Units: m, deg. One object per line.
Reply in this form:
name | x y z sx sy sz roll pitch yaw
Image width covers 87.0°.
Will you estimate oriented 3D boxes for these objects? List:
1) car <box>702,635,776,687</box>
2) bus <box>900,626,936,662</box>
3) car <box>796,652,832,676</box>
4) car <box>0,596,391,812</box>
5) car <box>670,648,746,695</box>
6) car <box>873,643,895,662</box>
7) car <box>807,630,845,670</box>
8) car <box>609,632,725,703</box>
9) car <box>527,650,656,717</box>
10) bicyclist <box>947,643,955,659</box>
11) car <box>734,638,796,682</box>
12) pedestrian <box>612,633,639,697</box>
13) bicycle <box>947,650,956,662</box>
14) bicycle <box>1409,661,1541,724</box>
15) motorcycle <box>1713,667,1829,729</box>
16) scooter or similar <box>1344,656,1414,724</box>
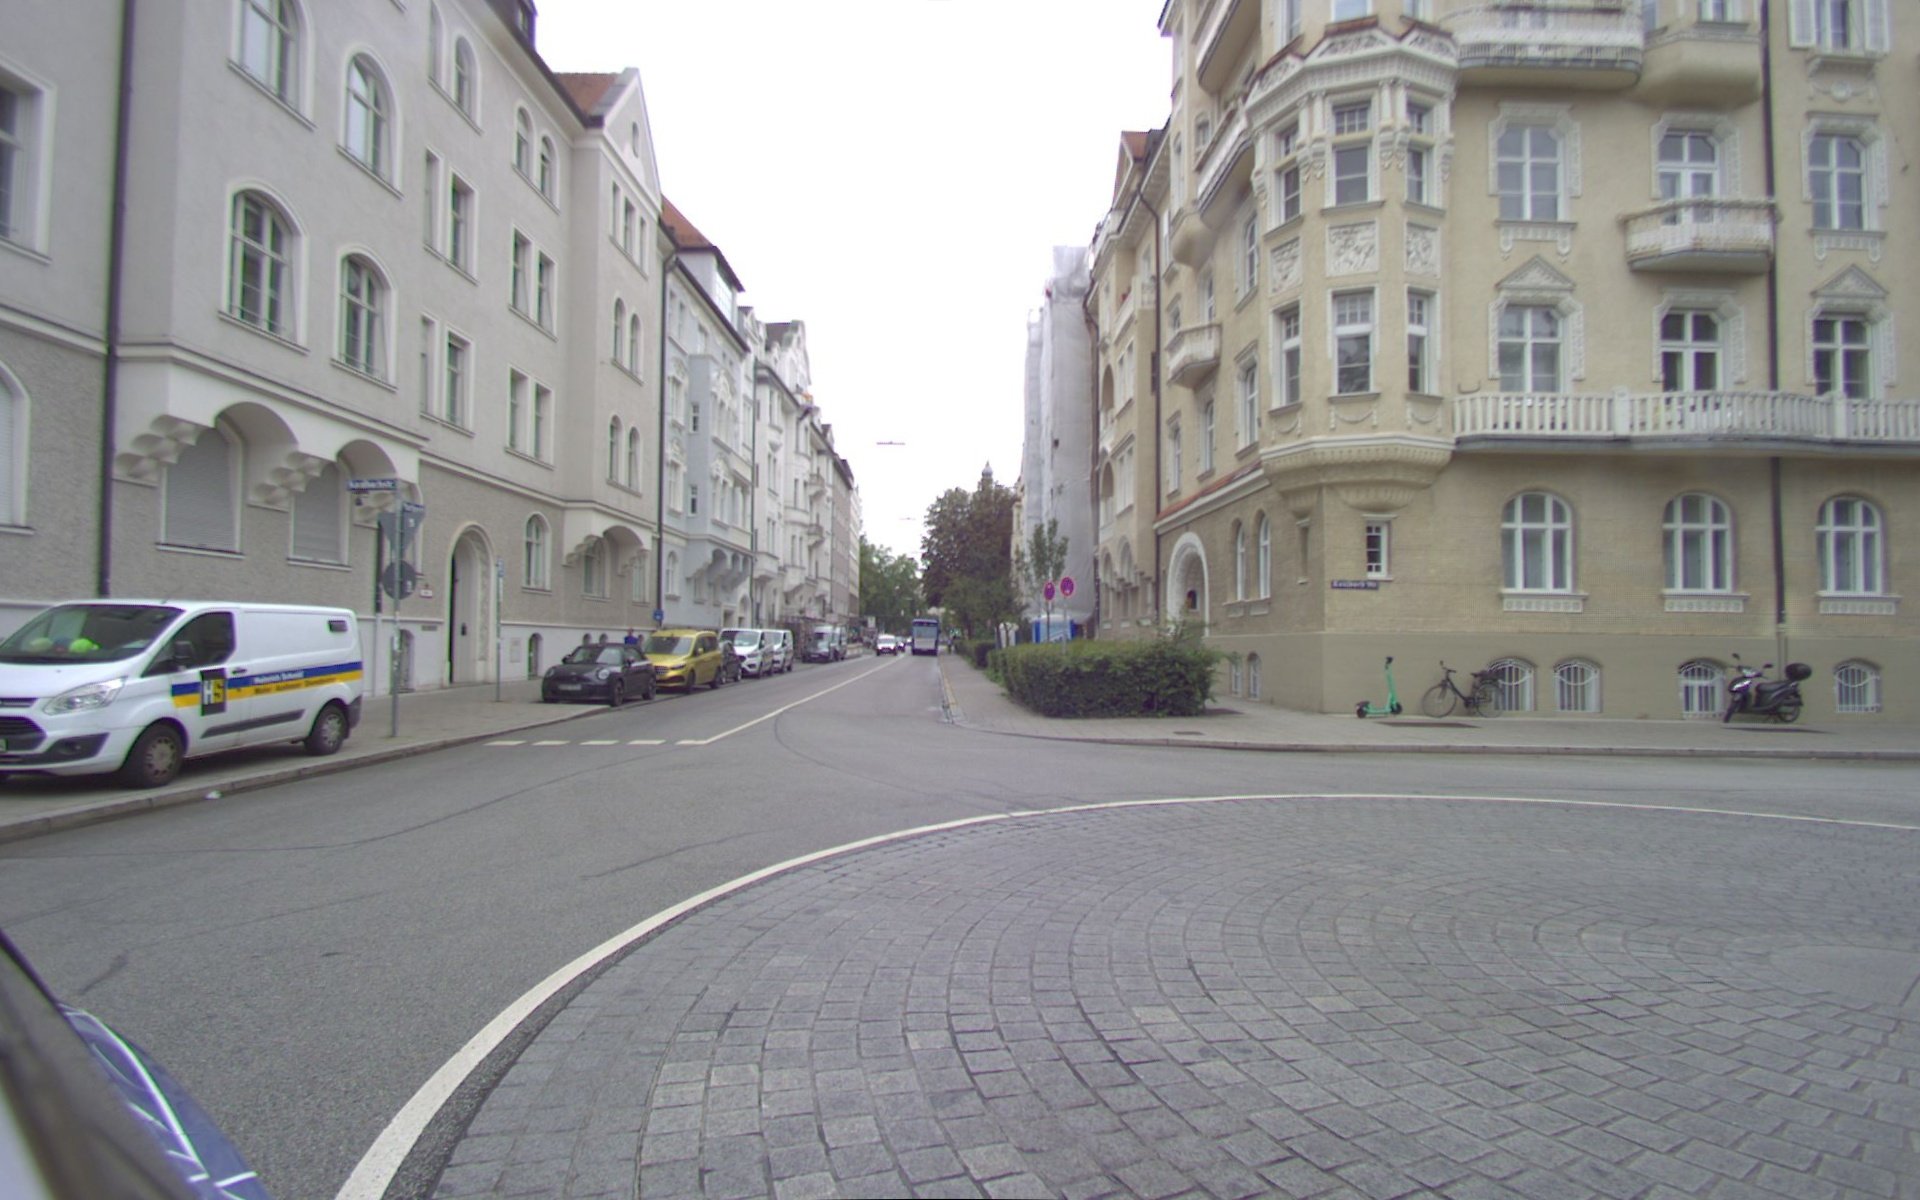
car | -8.868 2.440 41.073 1.972 1.933 4.886 1 -3 -1
bus | -4.463 4.521 103.239 3.134 3.236 18.071 2 -3 -4
car | -9.452 4.138 65.836 1.768 1.418 4.244 1 -3 -1
car | -9.139 1.052 11.854 1.917 1.937 5.374 1 -3 -1
car | -8.725 2.458 35.343 1.616 1.525 3.883 0 -3 1
car | -6.773 4.719 90.780 1.892 1.670 4.604 1 -3 -3
car | -9.618 3.634 73.138 2.054 2.709 5.445 2 -3 -1
car | -8.573 1.953 30.040 1.973 1.933 4.568 0 -3 2
car | -8.784 1.944 24.456 1.694 1.456 3.826 1 -3 0
bicyclist | -0.870 4.939 97.445 0.759 1.504 1.061 -1 -3 -2
car | -9.060 2.763 47.421 1.972 1.933 4.878 1 -3 -1
pedestrian | -10.721 2.080 32.445 0.577 2.029 0.727 0 -3 2
bicycle | -0.853 5.389 97.445 0.759 1.090 2.051 -1 -3 -3
bicycle | 10.235 1.825 20.150 2.304 1.212 0.700 1 -3 -5
motorcycle | 16.140 1.943 20.171 1.719 1.195 0.743 1 -3 -4
scooter or similar | 8.232 1.759 19.898 1.262 1.281 0.460 1 -3 -19
